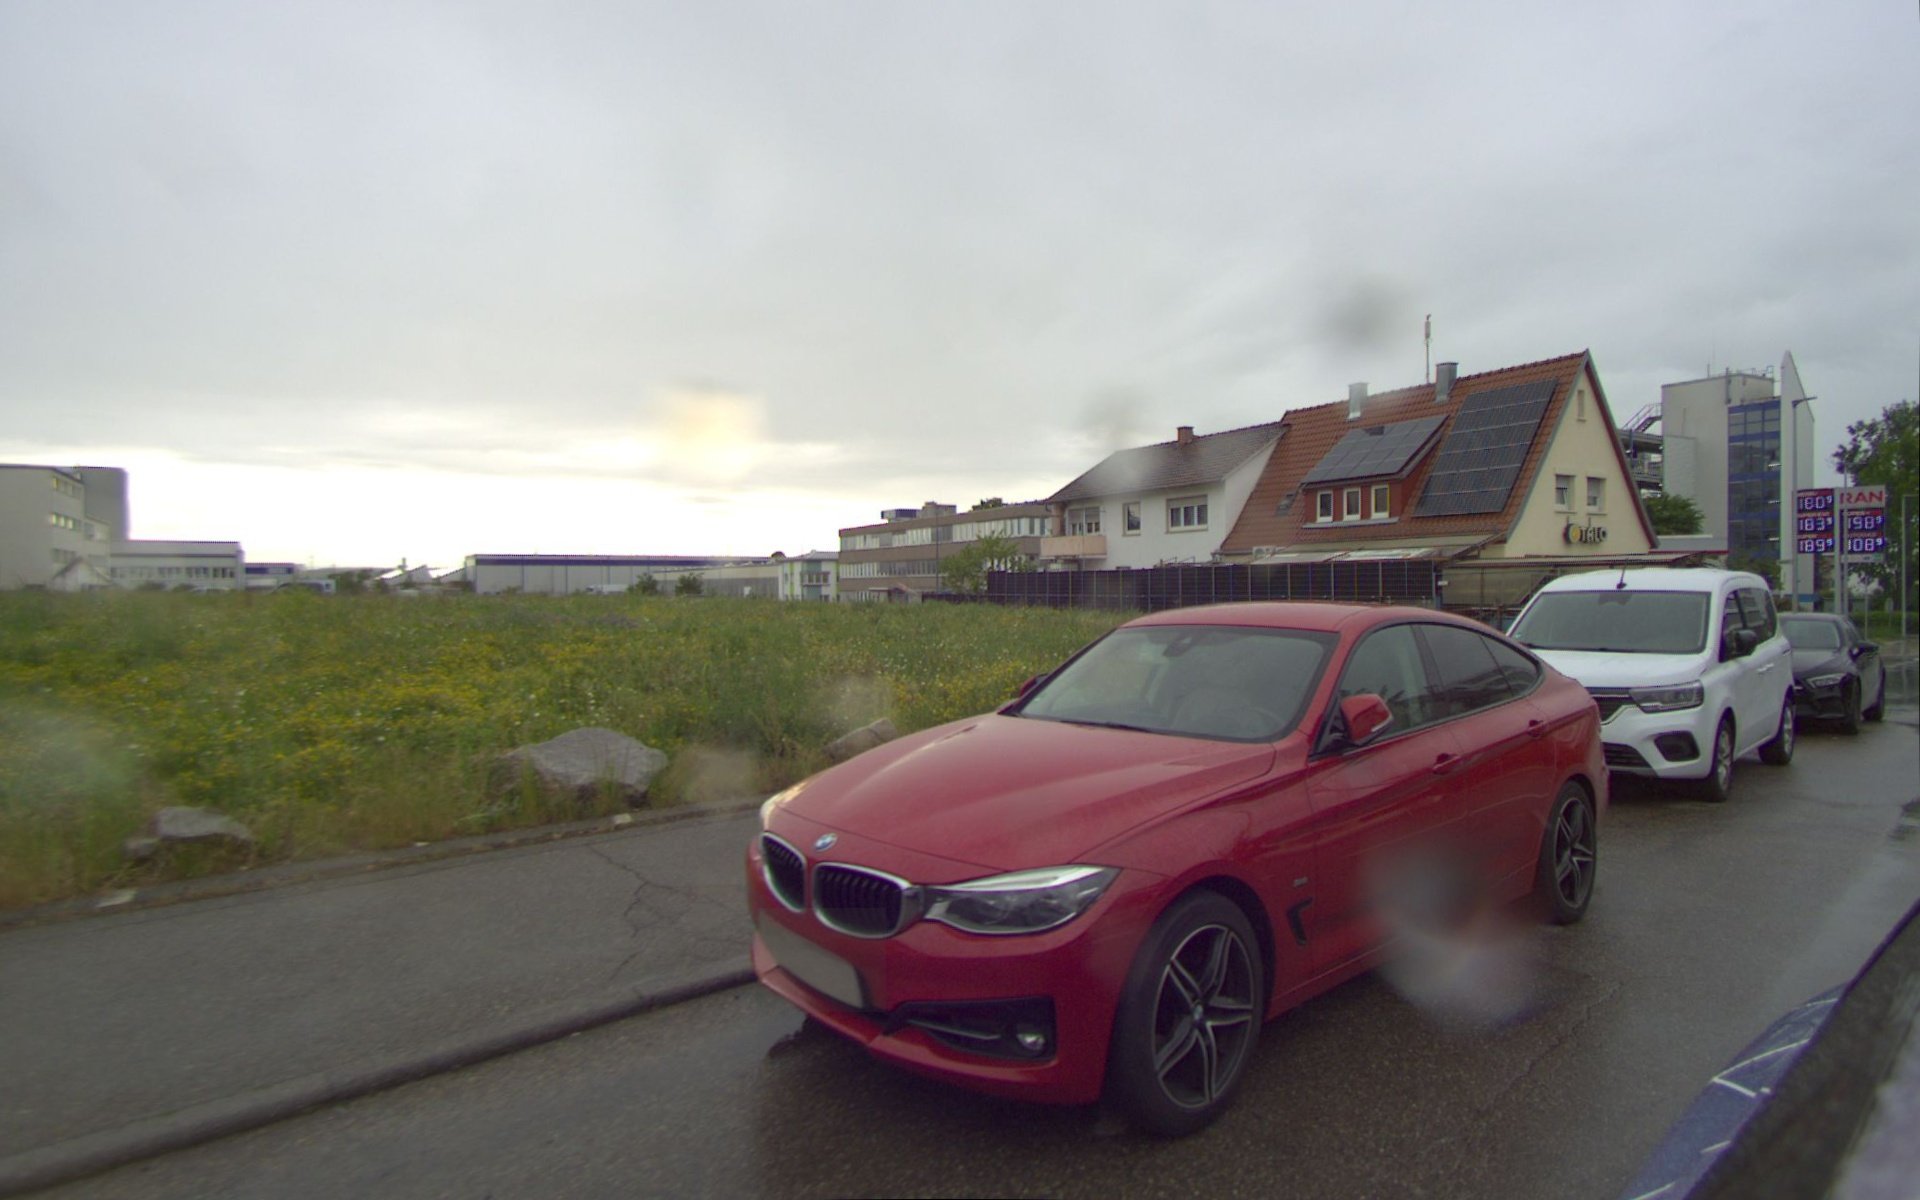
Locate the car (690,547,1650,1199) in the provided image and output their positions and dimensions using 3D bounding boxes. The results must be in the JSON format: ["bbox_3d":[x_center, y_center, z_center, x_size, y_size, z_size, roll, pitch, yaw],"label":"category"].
[{"bbox_3d":[1.308,0.681,4.420,4.561,1.595,1.645,0,-1,-40],"label":"car"}]

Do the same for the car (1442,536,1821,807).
[{"bbox_3d":[6.183,0.491,9.083,4.496,1.848,1.771,0,-1,-42],"label":"car"}]

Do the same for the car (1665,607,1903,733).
[{"bbox_3d":[10.791,0.781,13.149,4.247,1.353,1.771,0,-1,-42],"label":"car"}]
